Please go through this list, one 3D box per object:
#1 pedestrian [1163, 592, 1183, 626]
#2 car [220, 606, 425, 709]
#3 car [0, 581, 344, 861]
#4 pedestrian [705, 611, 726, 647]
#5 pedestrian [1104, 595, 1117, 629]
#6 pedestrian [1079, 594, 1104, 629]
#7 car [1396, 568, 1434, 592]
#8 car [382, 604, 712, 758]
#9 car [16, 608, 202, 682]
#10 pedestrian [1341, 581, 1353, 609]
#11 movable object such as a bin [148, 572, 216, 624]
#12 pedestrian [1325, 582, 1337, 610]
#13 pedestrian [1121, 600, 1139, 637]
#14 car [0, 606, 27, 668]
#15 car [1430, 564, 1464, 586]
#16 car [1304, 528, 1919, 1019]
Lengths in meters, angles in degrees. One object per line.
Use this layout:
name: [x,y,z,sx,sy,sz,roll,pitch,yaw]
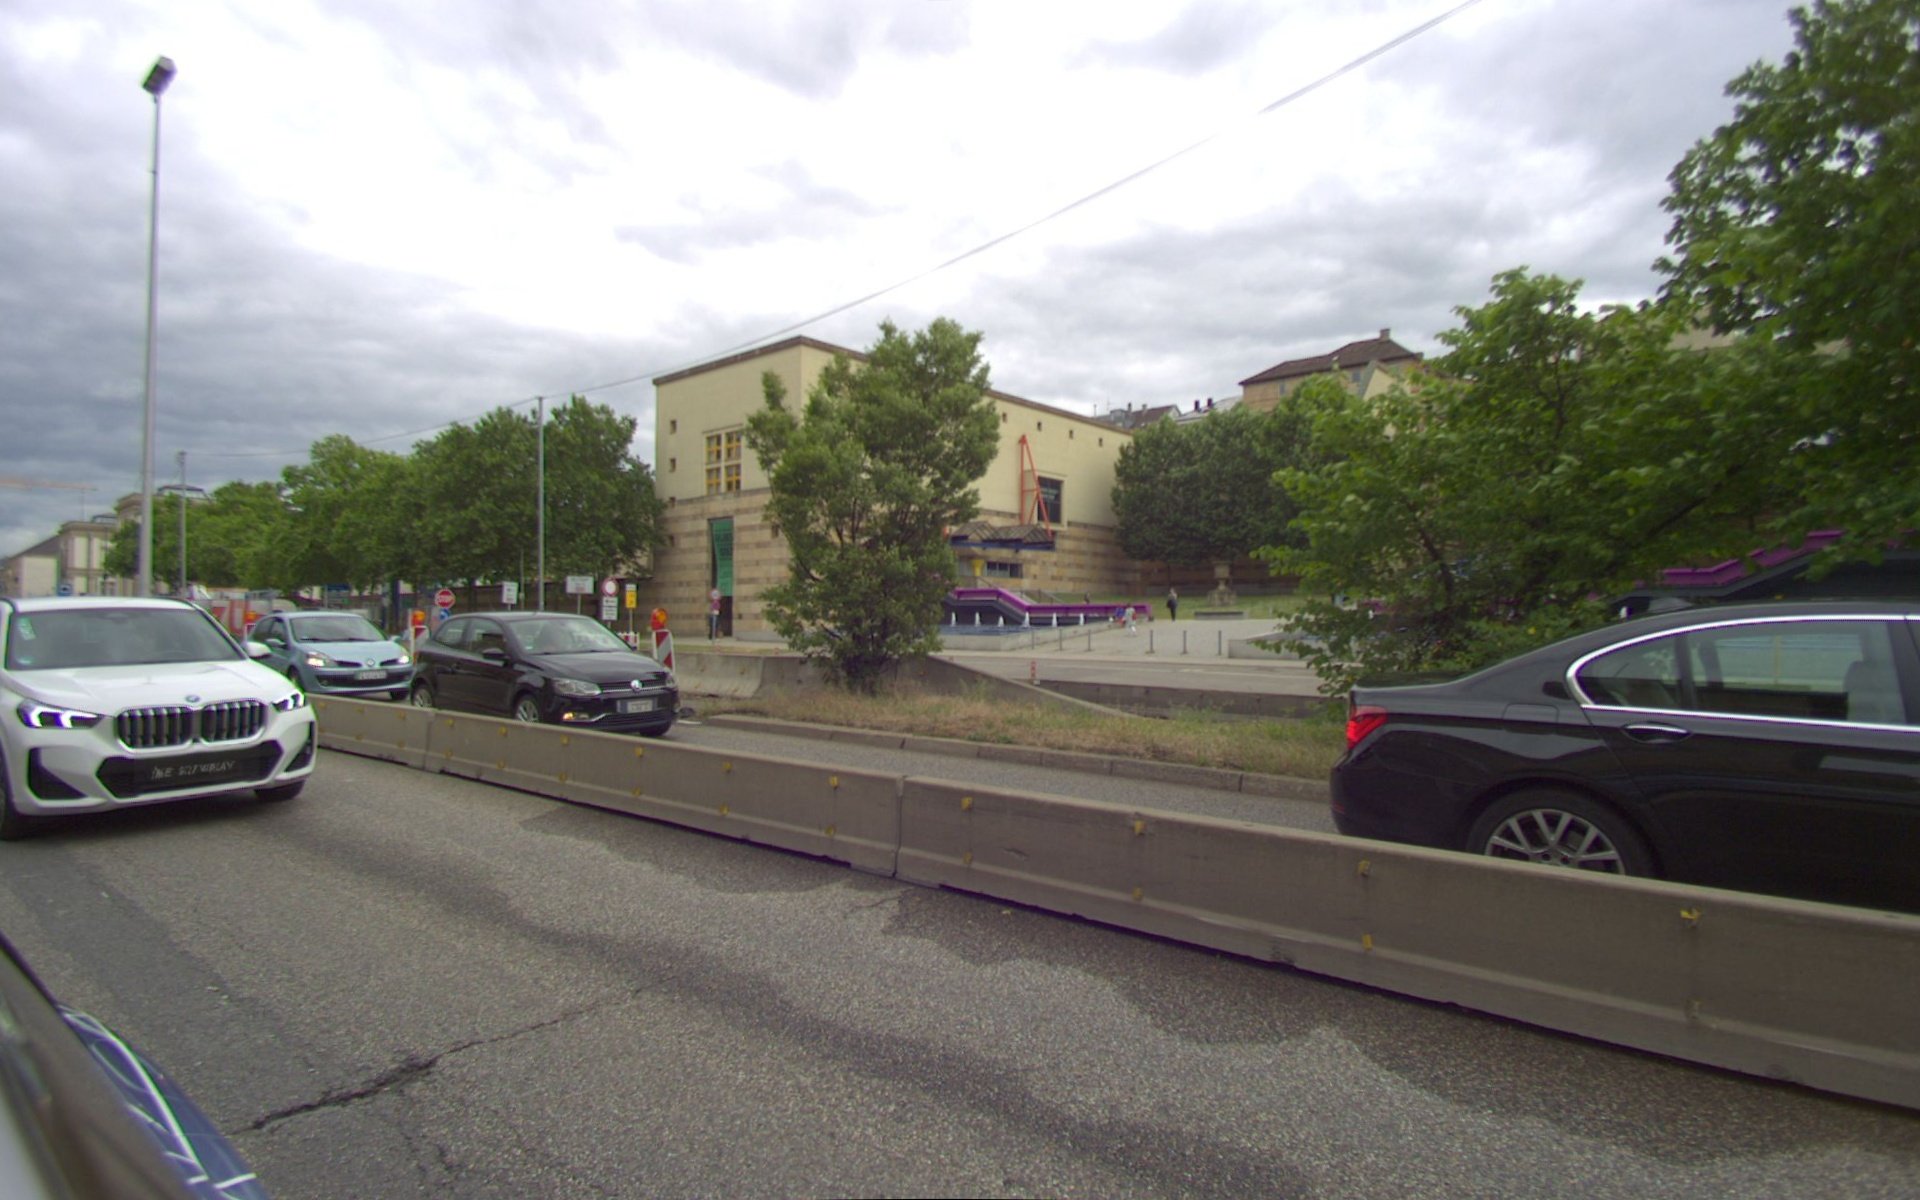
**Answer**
pedestrian: [11.693,0.478,55.594,0.804,1.866,0.684,0,1,42]
car: [-10.656,0.874,16.834,3.847,1.518,1.657,-1,0,37]
car: [-7.006,0.713,8.136,4.898,1.640,1.834,0,0,37]
pedestrian: [-13.979,1.635,57.902,0.814,2.029,0.836,0,1,42]
pedestrian: [7.736,0.610,52.008,0.526,1.708,0.338,-1,0,41]
pedestrian: [7.730,0.674,59.490,0.907,2.029,1.094,-2,1,-44]
car: [36.684,-1.596,81.524,1.611,1.811,3.753,-1,0,44]
car: [-4.852,0.796,11.650,4.191,1.465,1.644,-1,0,37]
car: [-19.034,0.940,22.586,4.689,1.492,1.864,-1,0,32]
pedestrian: [24.361,-0.316,63.713,0.477,1.762,0.638,-1,0,40]
movable object such as a bin: [-34.020,-0.042,44.247,3.287,2.202,1.507,-1,-2,37]
pedestrian: [23.446,-0.267,63.976,0.477,1.762,0.638,-1,0,40]
pedestrian: [8.156,0.882,48.469,0.695,1.708,0.521,-1,0,30]
car: [-27.237,0.978,27.738,4.039,1.633,1.760,0,0,37]
car: [41.814,-2.163,86.862,1.610,1.811,3.754,-1,0,43]
car: [4.103,0.578,3.878,4.936,1.648,1.903,-1,0,43]
